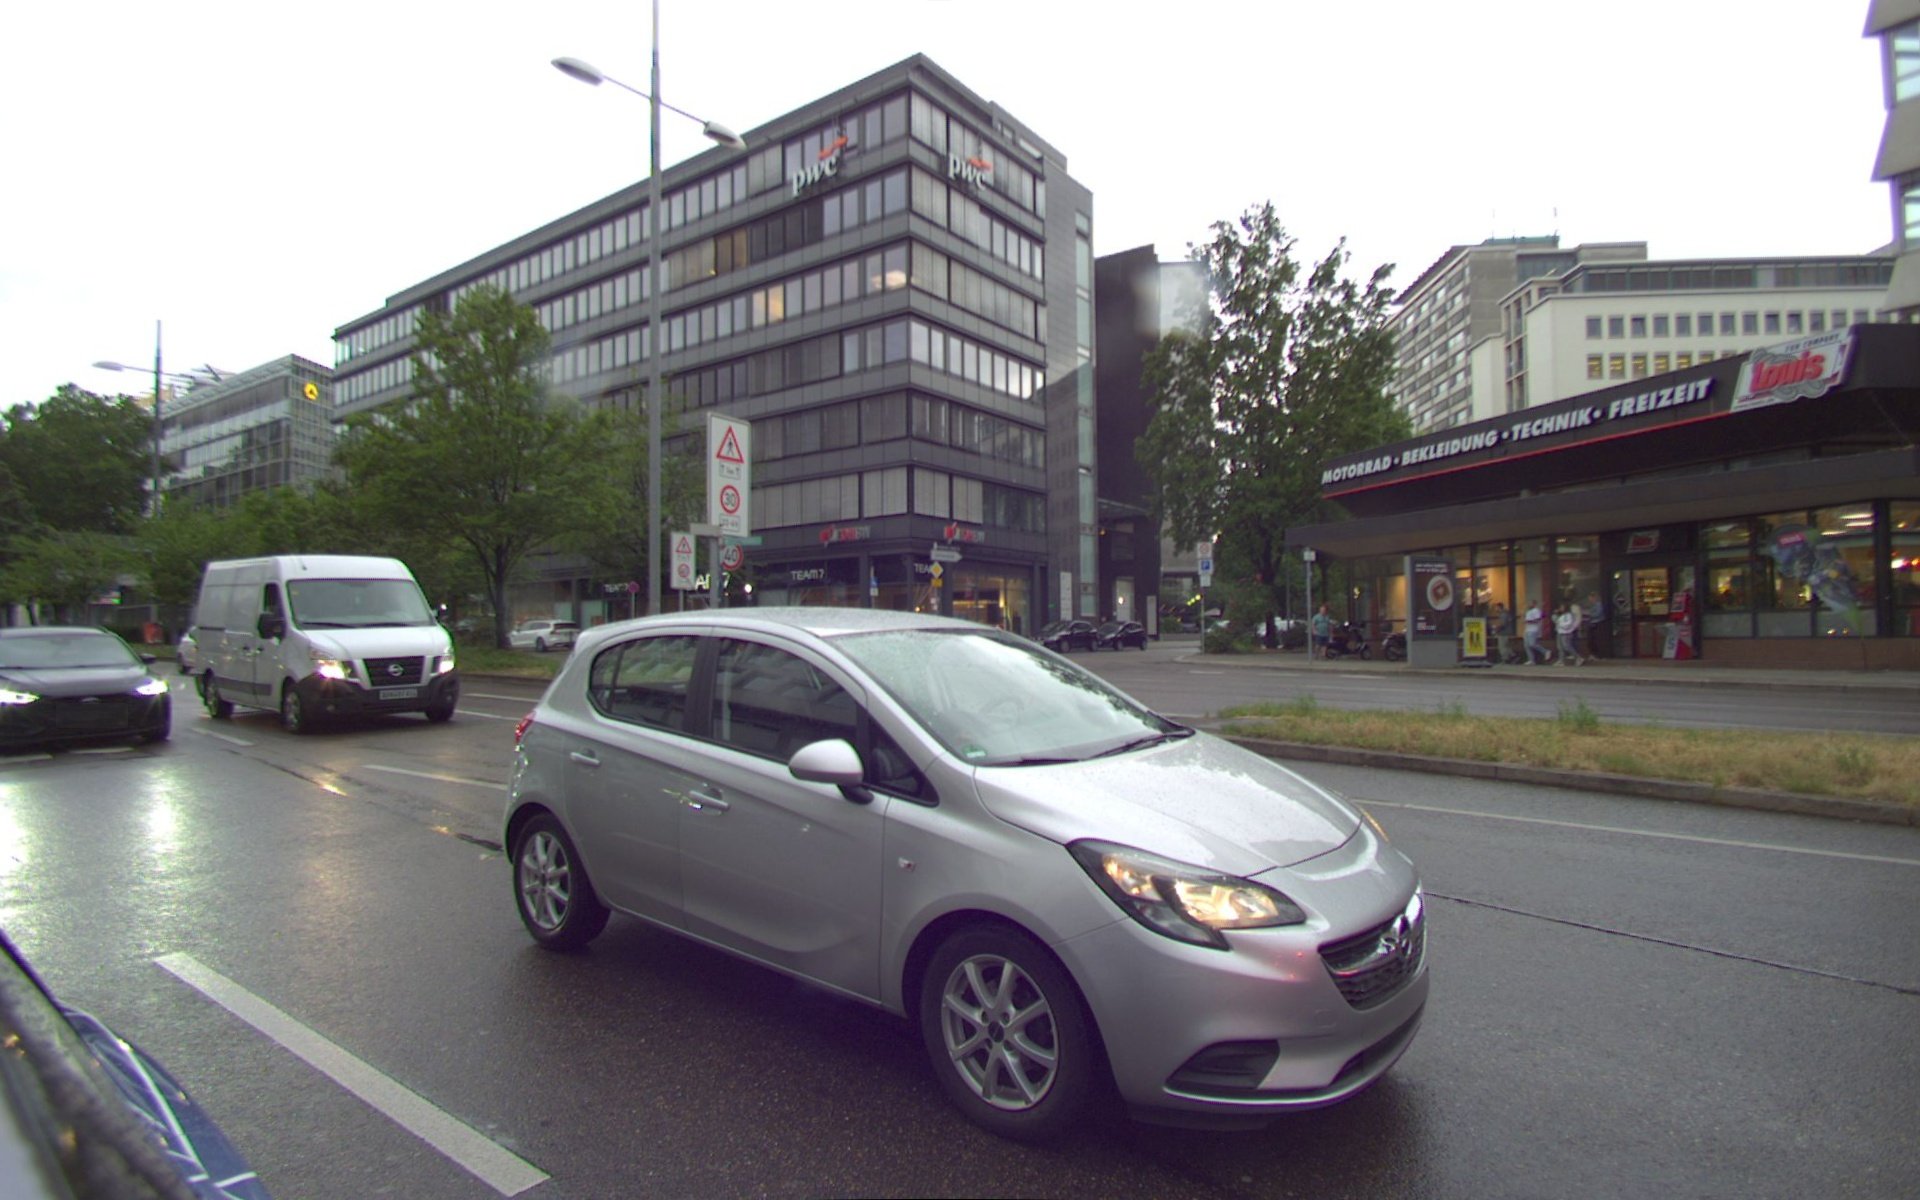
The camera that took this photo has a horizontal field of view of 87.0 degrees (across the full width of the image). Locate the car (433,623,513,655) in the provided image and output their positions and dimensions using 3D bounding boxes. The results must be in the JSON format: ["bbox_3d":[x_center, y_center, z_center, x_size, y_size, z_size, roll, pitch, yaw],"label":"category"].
[{"bbox_3d":[-24.603,1.964,51.093,4.100,1.518,1.975,-2,-1,36],"label":"car"}]

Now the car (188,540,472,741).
[{"bbox_3d":[-9.403,0.550,14.871,5.475,2.459,1.927,-2,-1,40],"label":"car"}]

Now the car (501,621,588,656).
[{"bbox_3d":[-19.414,1.782,47.243,3.992,1.518,1.975,-2,-1,36],"label":"car"}]

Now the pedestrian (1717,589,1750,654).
[{"bbox_3d":[20.759,0.581,27.153,0.501,1.731,0.447,-1,-1,-16],"label":"pedestrian"}]

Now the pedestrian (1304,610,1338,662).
[{"bbox_3d":[11.674,1.152,32.700,0.721,1.661,0.702,-1,-1,-19],"label":"pedestrian"}]

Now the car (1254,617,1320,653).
[{"bbox_3d":[15.560,1.628,48.034,1.847,1.596,3.716,-2,-1,37],"label":"car"}]

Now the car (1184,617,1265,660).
[{"bbox_3d":[10.664,1.505,40.633,1.847,1.596,3.716,-2,-1,37],"label":"car"}]

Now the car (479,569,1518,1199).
[{"bbox_3d":[-0.170,0.700,3.962,3.872,1.446,1.631,-2,-1,40],"label":"car"}]

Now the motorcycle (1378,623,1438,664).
[{"bbox_3d":[13.830,1.345,31.221,1.646,1.242,0.360,-1,-1,2],"label":"motorcycle"}]

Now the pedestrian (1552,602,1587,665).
[{"bbox_3d":[15.700,0.862,26.070,0.532,1.582,0.560,0,-1,-29],"label":"pedestrian"}]

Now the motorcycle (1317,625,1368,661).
[{"bbox_3d":[12.961,1.457,34.274,1.600,1.153,0.360,-1,-1,-8],"label":"motorcycle"}]

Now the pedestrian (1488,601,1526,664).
[{"bbox_3d":[14.539,0.859,26.911,0.605,1.623,0.614,0,-1,-29],"label":"pedestrian"}]

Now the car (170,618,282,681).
[{"bbox_3d":[-20.828,1.368,28.678,3.492,1.630,1.744,-2,-1,39],"label":"car"}]

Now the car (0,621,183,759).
[{"bbox_3d":[-11.507,1.032,12.709,4.087,1.446,1.755,-2,-1,37],"label":"car"}]

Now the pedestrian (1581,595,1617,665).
[{"bbox_3d":[16.473,0.765,26.083,0.532,1.757,0.560,0,-1,-29],"label":"pedestrian"}]

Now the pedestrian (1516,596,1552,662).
[{"bbox_3d":[15.448,0.767,27.223,0.605,1.757,0.560,0,-1,-29],"label":"pedestrian"}]

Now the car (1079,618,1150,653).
[{"bbox_3d":[7.570,1.716,49.462,1.847,1.596,3.716,-2,-1,37],"label":"car"}]

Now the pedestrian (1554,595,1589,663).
[{"bbox_3d":[16.243,0.767,26.876,0.532,1.757,0.560,0,-1,-29],"label":"pedestrian"}]

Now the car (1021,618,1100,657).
[{"bbox_3d":[4.535,1.659,45.466,1.847,1.596,3.716,-2,-1,37],"label":"car"}]
